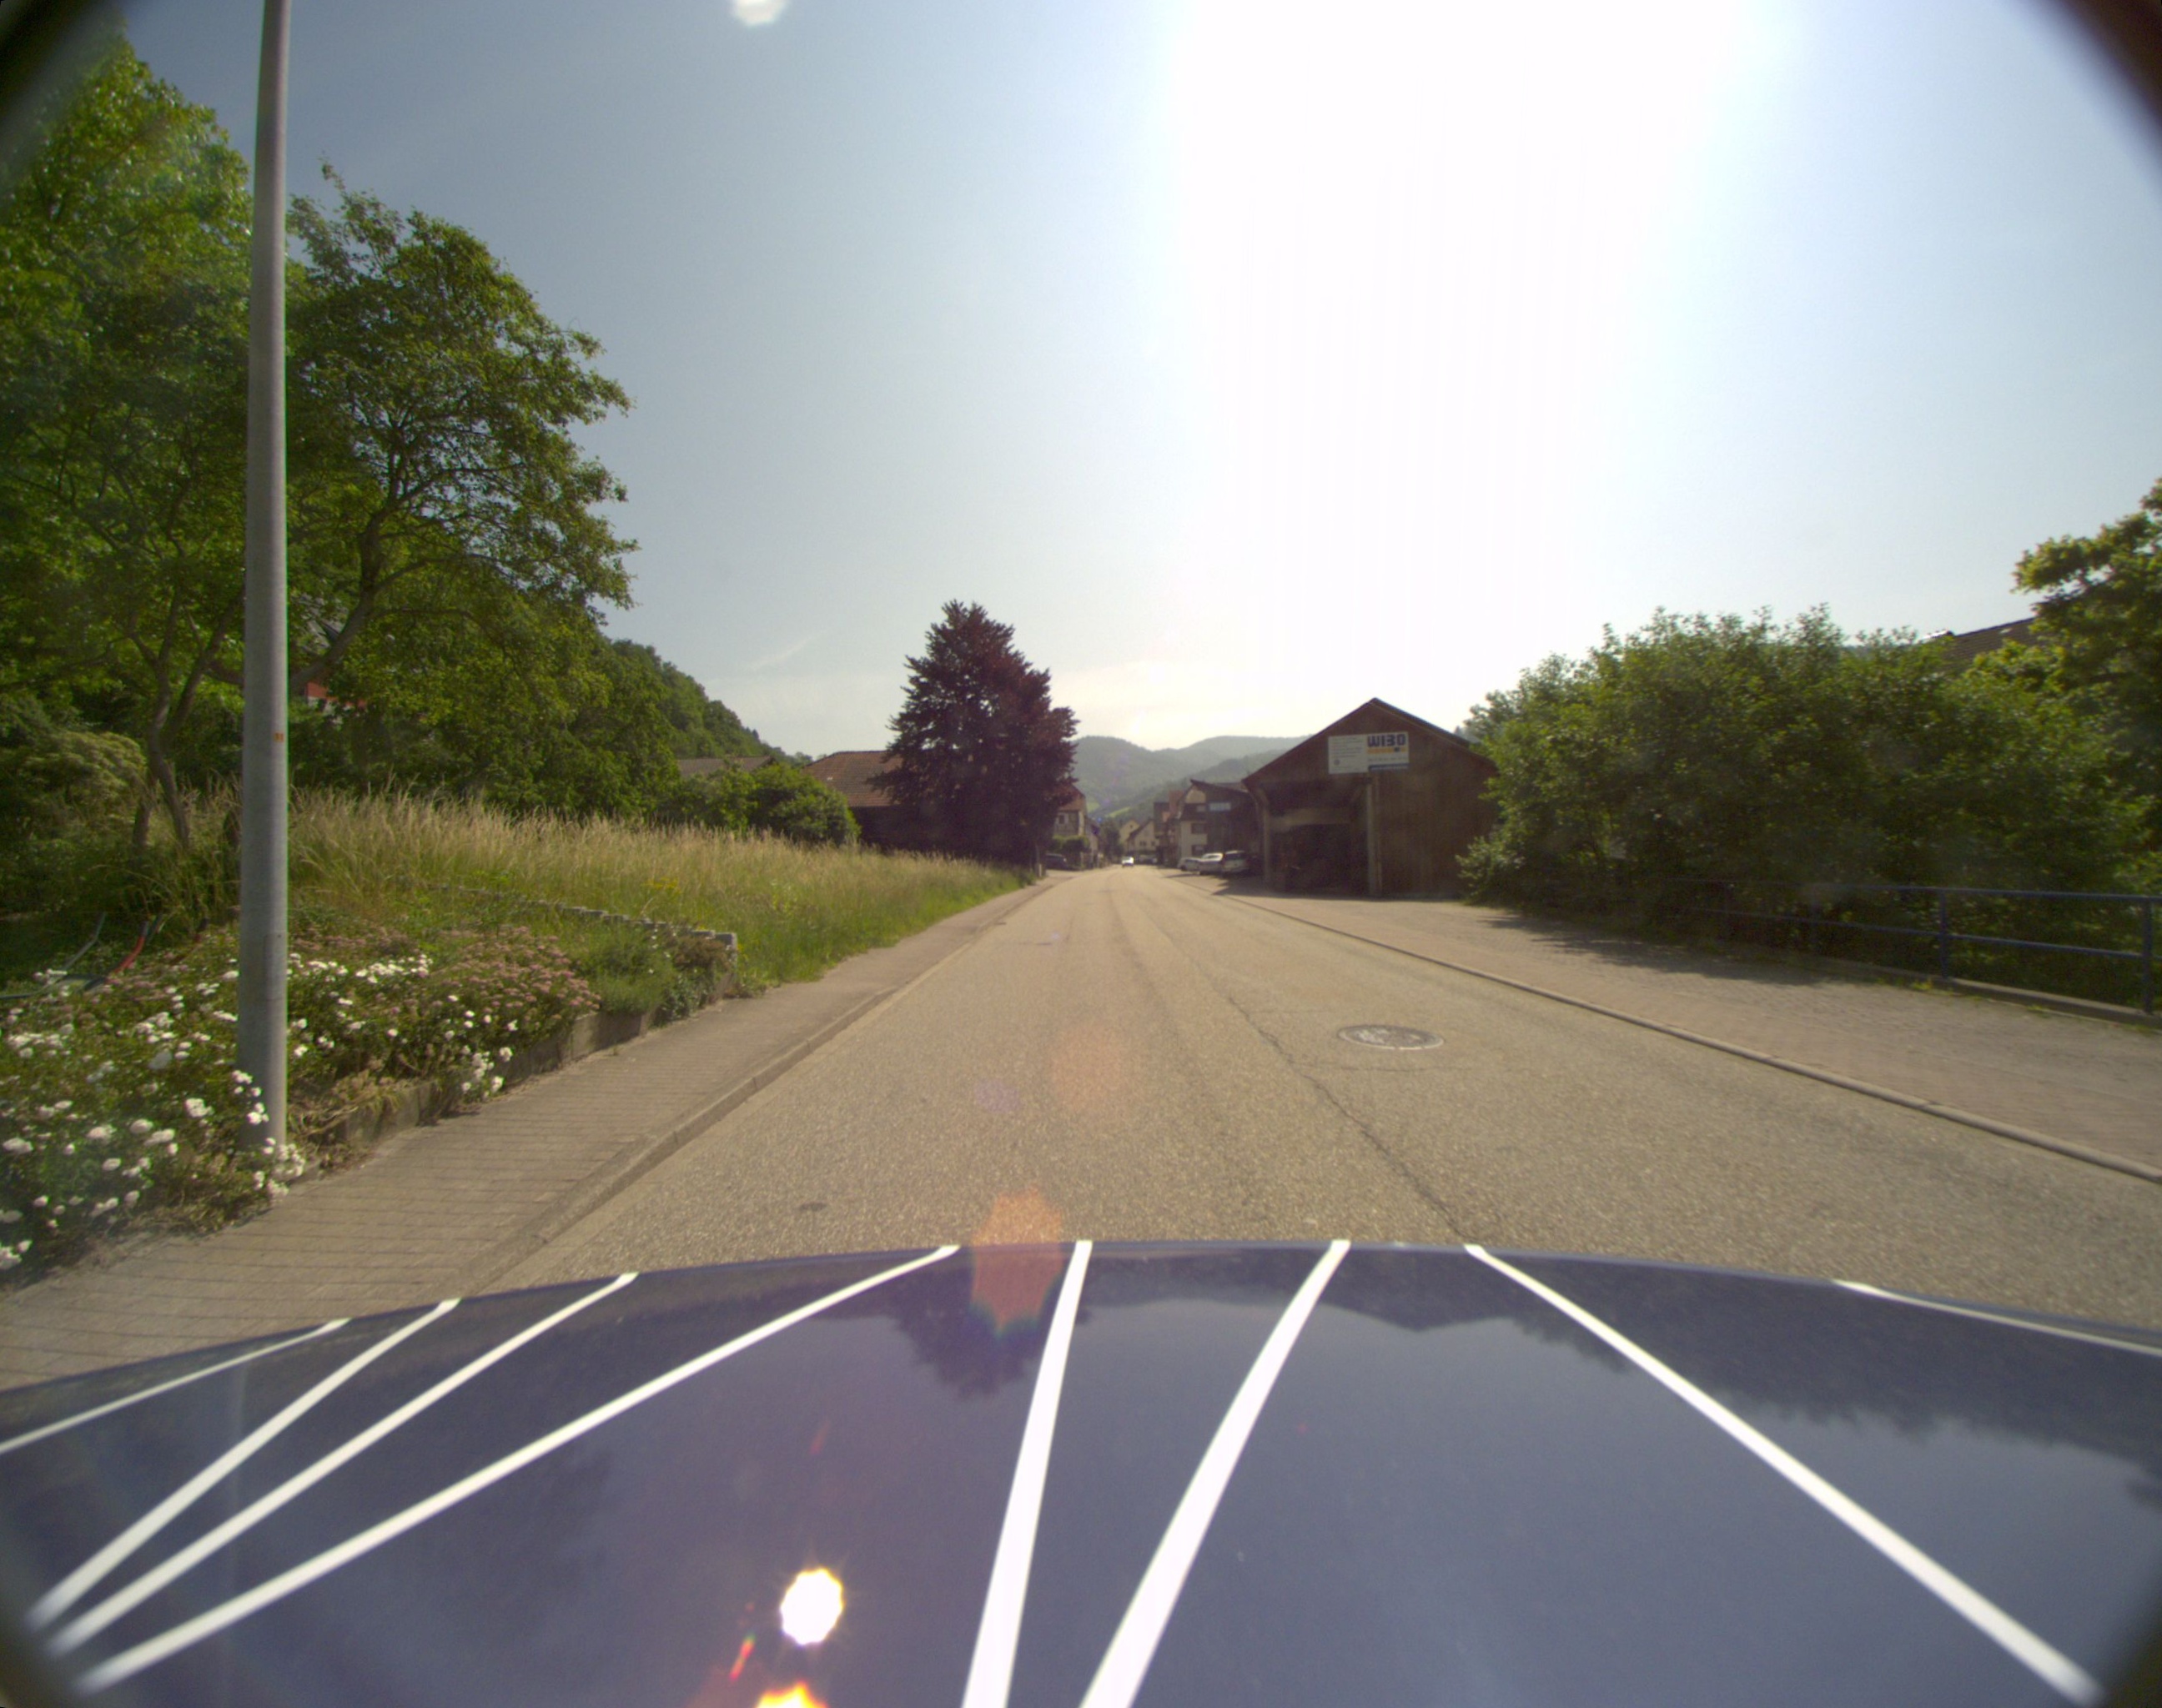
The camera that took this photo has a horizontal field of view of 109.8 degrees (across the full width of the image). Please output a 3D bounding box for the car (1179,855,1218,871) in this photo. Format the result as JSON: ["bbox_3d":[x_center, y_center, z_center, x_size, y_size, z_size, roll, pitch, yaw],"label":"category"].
[{"bbox_3d":[12.064,0.896,78.171,3.662,1.377,1.713,3,1,20],"label":"car"}]

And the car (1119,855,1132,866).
[{"bbox_3d":[7.522,1.087,129.001,1.998,1.672,4.000,0,0,2],"label":"car"}]

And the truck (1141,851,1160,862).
[{"bbox_3d":[16.057,0.549,175.943,4.176,2.253,2.000,-2,0,0],"label":"truck"}]

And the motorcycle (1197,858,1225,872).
[{"bbox_3d":[11.576,0.964,67.653,2.412,1.257,0.744,0,0,15],"label":"motorcycle"}]

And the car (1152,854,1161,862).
[{"bbox_3d":[16.181,0.871,163.321,1.774,1.544,4.286,-2,0,3],"label":"car"}]

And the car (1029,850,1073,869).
[{"bbox_3d":[-3.115,0.555,79.069,4.228,1.677,1.778,4,1,9],"label":"car"}]

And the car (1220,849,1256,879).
[{"bbox_3d":[9.158,0.534,44.143,1.583,1.560,4.028,-4,-1,17],"label":"car"}]

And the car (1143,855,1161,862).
[{"bbox_3d":[15.962,0.951,170.938,4.104,1.494,1.754,-1,0,3],"label":"car"}]

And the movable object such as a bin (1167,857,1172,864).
[{"bbox_3d":[12.840,0.942,110.665,0.677,1.060,0.621,-1,0,4],"label":"movable object such as a bin"}]

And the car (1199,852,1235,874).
[{"bbox_3d":[9.572,0.627,53.258,1.731,1.445,4.812,-1,-1,19],"label":"car"}]
